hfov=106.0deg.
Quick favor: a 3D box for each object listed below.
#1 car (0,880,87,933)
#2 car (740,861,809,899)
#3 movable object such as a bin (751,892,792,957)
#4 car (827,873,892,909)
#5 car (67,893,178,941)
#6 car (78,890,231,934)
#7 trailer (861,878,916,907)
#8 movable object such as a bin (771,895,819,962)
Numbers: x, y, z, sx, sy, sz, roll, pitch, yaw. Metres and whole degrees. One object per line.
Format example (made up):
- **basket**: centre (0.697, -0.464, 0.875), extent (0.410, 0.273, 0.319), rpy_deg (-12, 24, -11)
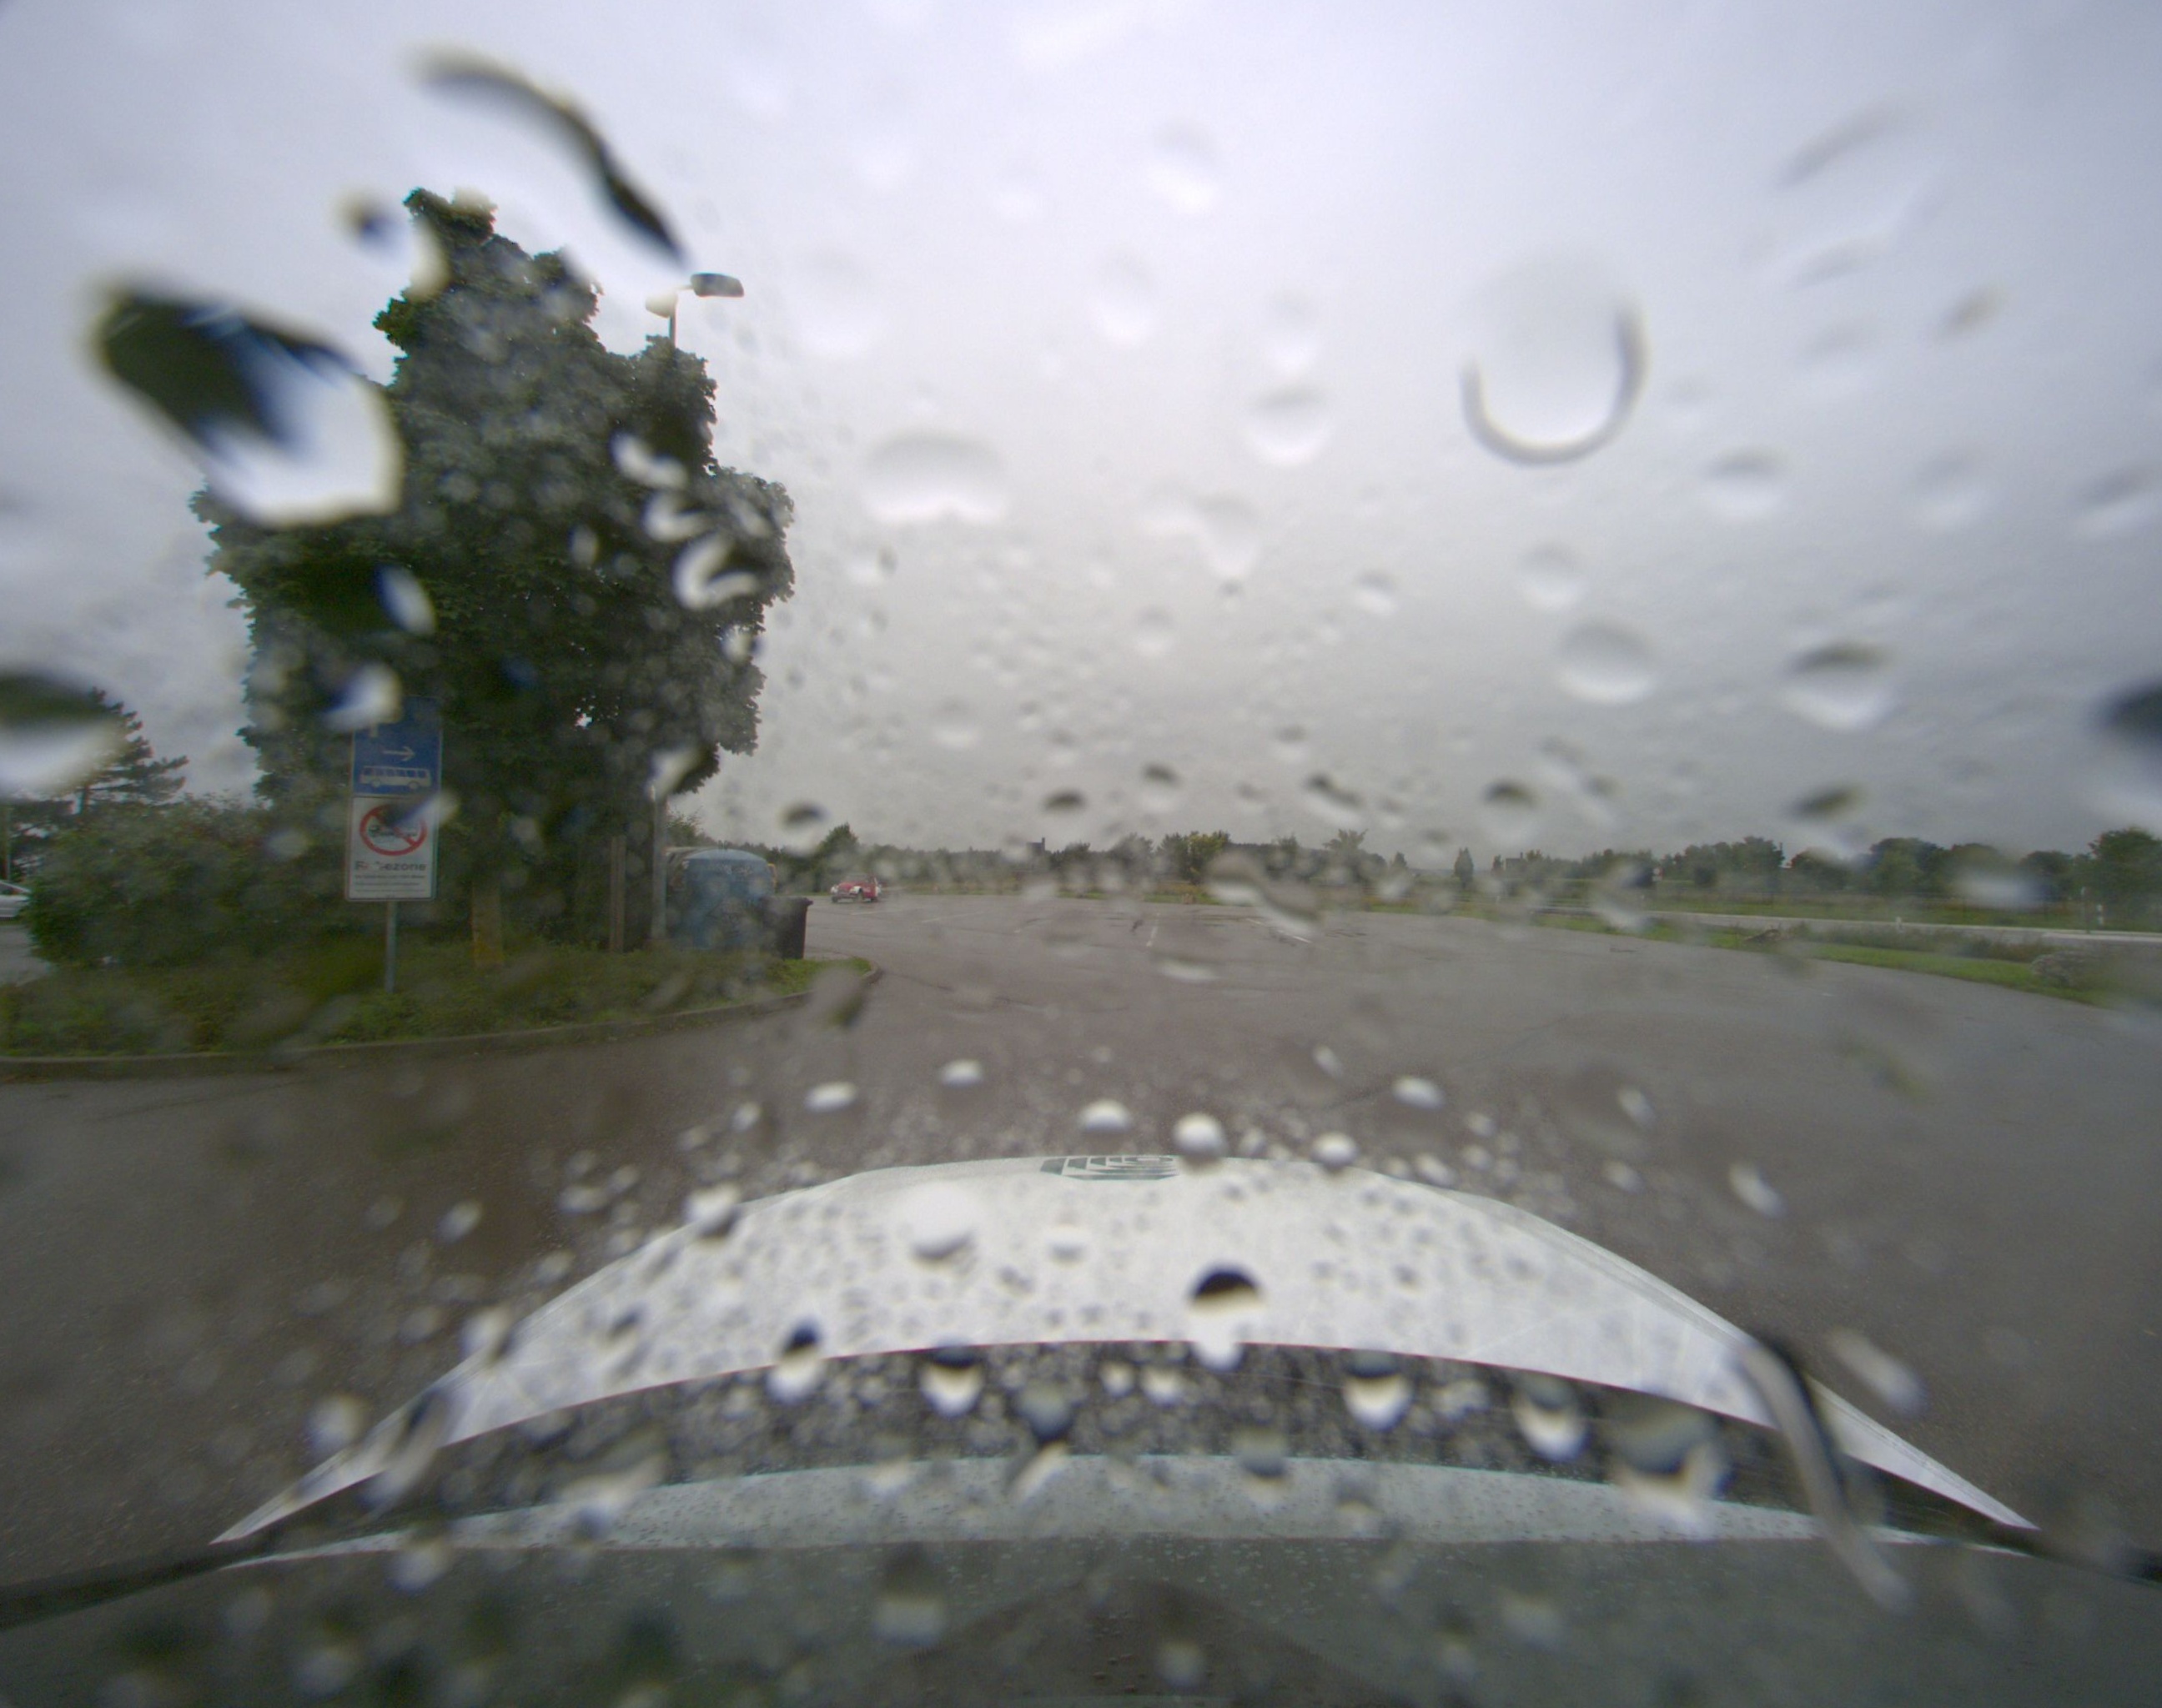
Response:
- **car**: centre (-39.466, 1.932, 29.293), extent (4.391, 1.862, 1.829), rpy_deg (0, -3, -40)
- **car**: centre (-20.589, 1.797, 55.063), extent (1.984, 2.380, 6.031), rpy_deg (-2, -3, 4)
- **movable object such as a bin**: centre (-4.702, 1.070, 12.393), extent (0.402, 0.949, 0.451), rpy_deg (1, -2, 4)
- **car**: centre (-11.377, 1.894, 42.084), extent (1.812, 1.777, 4.008), rpy_deg (-1, -2, 8)
- **car**: centre (-30.282, 1.964, 25.851), extent (1.659, 1.370, 3.952), rpy_deg (1, -4, -41)
- **car**: centre (-42.548, 2.621, 37.587), extent (4.391, 1.862, 1.829), rpy_deg (1, -2, -40)
- **trailer**: centre (-10.803, 2.139, 46.060), extent (1.685, 1.533, 4.008), rpy_deg (-1, -2, 7)
- **movable object such as a bin**: centre (-4.216, 1.083, 12.013), extent (0.430, 0.949, 0.476), rpy_deg (1, -2, 28)
